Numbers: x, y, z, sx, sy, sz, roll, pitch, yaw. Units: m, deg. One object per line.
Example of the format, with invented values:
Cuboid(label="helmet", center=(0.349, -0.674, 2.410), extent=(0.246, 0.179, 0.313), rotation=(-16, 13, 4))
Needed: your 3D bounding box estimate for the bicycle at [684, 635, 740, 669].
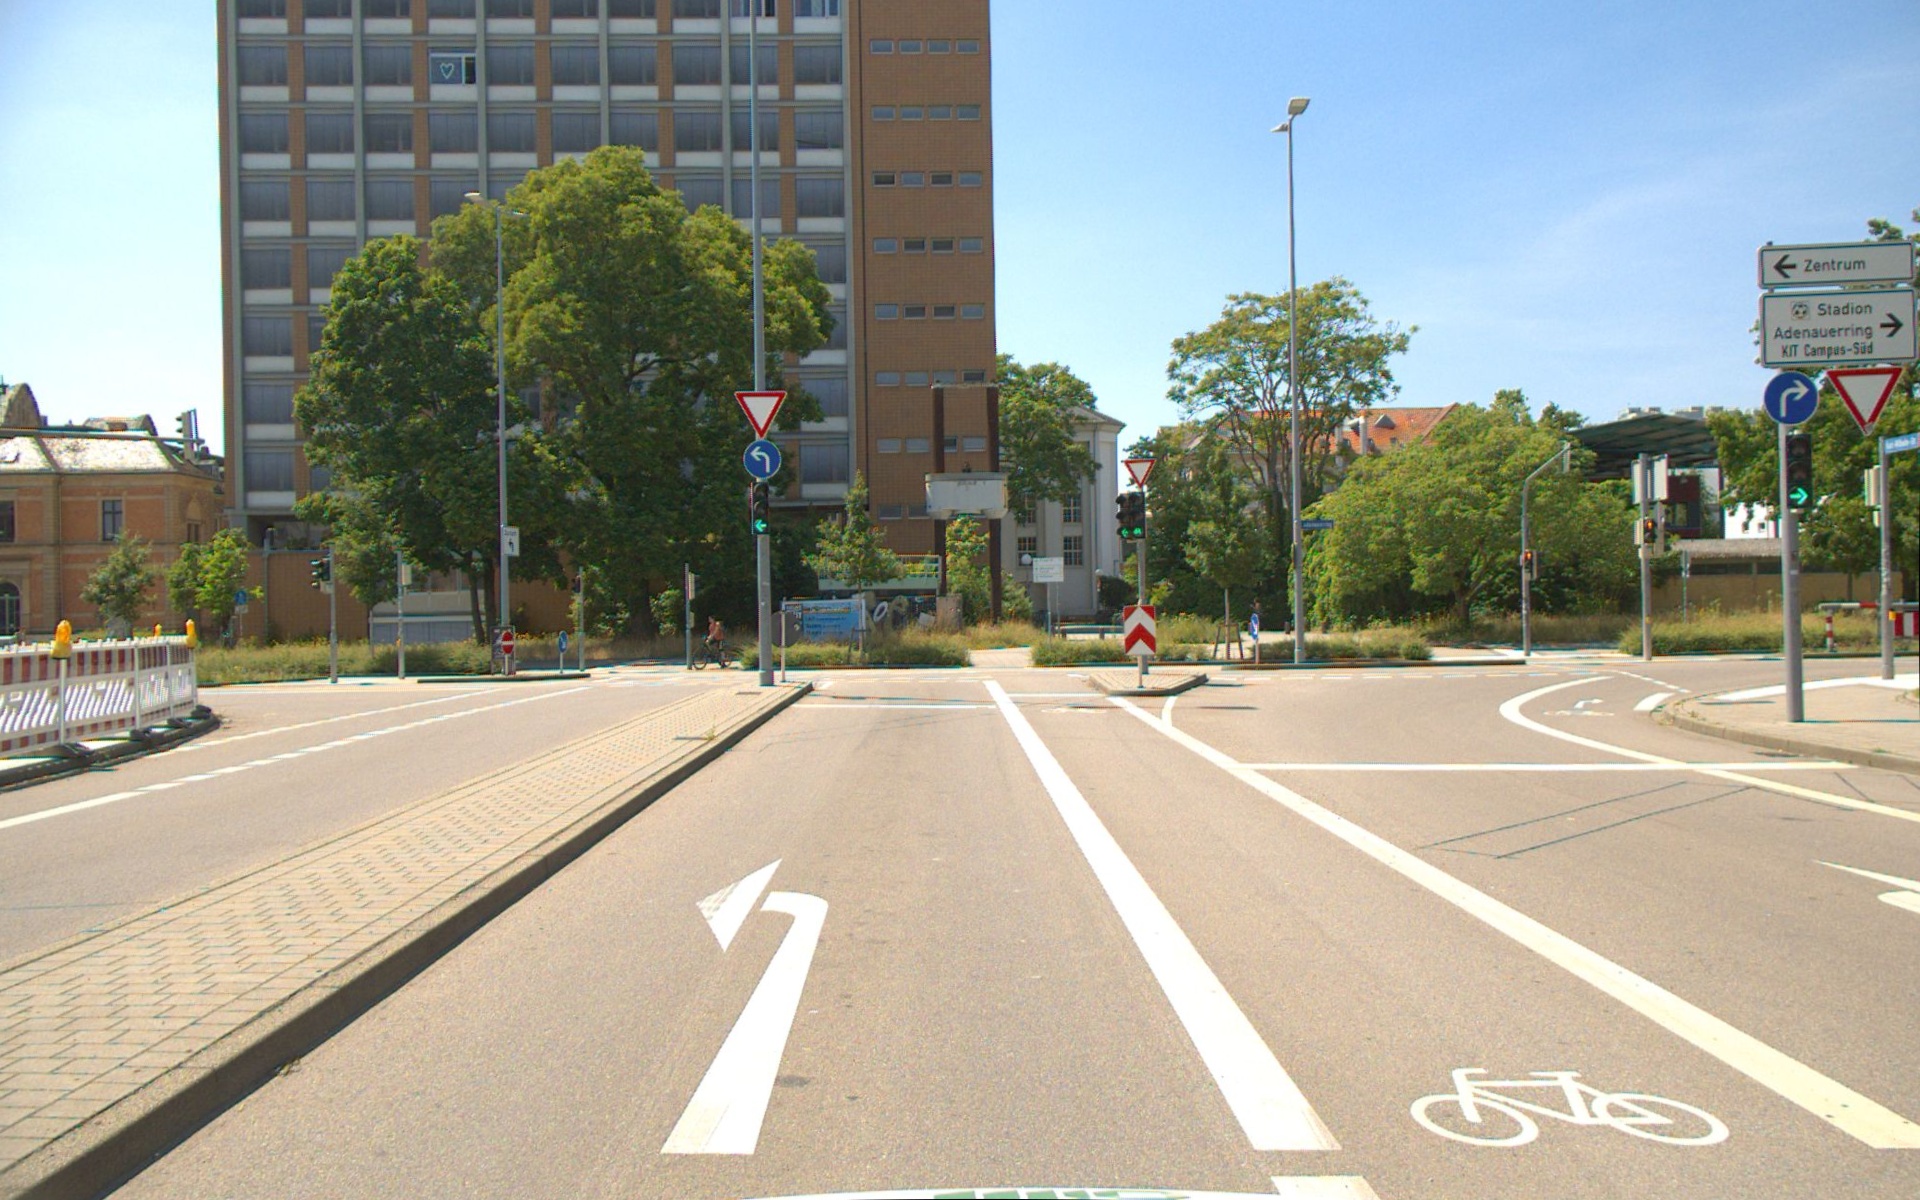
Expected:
Cuboid(label="bicycle", center=(-8.363, 1.742, 55.869), extent=(0.548, 1.063, 1.986), rotation=(0, 1, 40))

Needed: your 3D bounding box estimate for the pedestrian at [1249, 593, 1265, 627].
Cuboid(label="pedestrian", center=(14.707, 0.504, 81.863), extent=(0.626, 1.694, 0.706), rotation=(1, -1, -2))

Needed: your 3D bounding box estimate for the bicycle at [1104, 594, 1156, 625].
Cuboid(label="bicycle", center=(11.436, 0.623, 111.389), extent=(3.376, 2.049, 0.760), rotation=(1, -1, 1))

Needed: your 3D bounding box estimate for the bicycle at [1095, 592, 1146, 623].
Cuboid(label="bicycle", center=(10.979, 0.522, 113.030), extent=(3.376, 2.049, 0.760), rotation=(1, -1, 1))

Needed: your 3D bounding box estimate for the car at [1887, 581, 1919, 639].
Cuboid(label="car", center=(28.977, 0.213, 46.796), extent=(4.445, 1.614, 1.710), rotation=(-2, -1, 5))

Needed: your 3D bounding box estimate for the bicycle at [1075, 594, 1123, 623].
Cuboid(label="bicycle", center=(9.878, 0.593, 117.489), extent=(3.376, 2.049, 0.760), rotation=(1, -1, 1))

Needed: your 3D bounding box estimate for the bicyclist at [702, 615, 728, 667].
Cuboid(label="bicyclist", center=(-8.293, 1.376, 55.956), extent=(0.541, 1.745, 0.699), rotation=(0, 1, 40))
